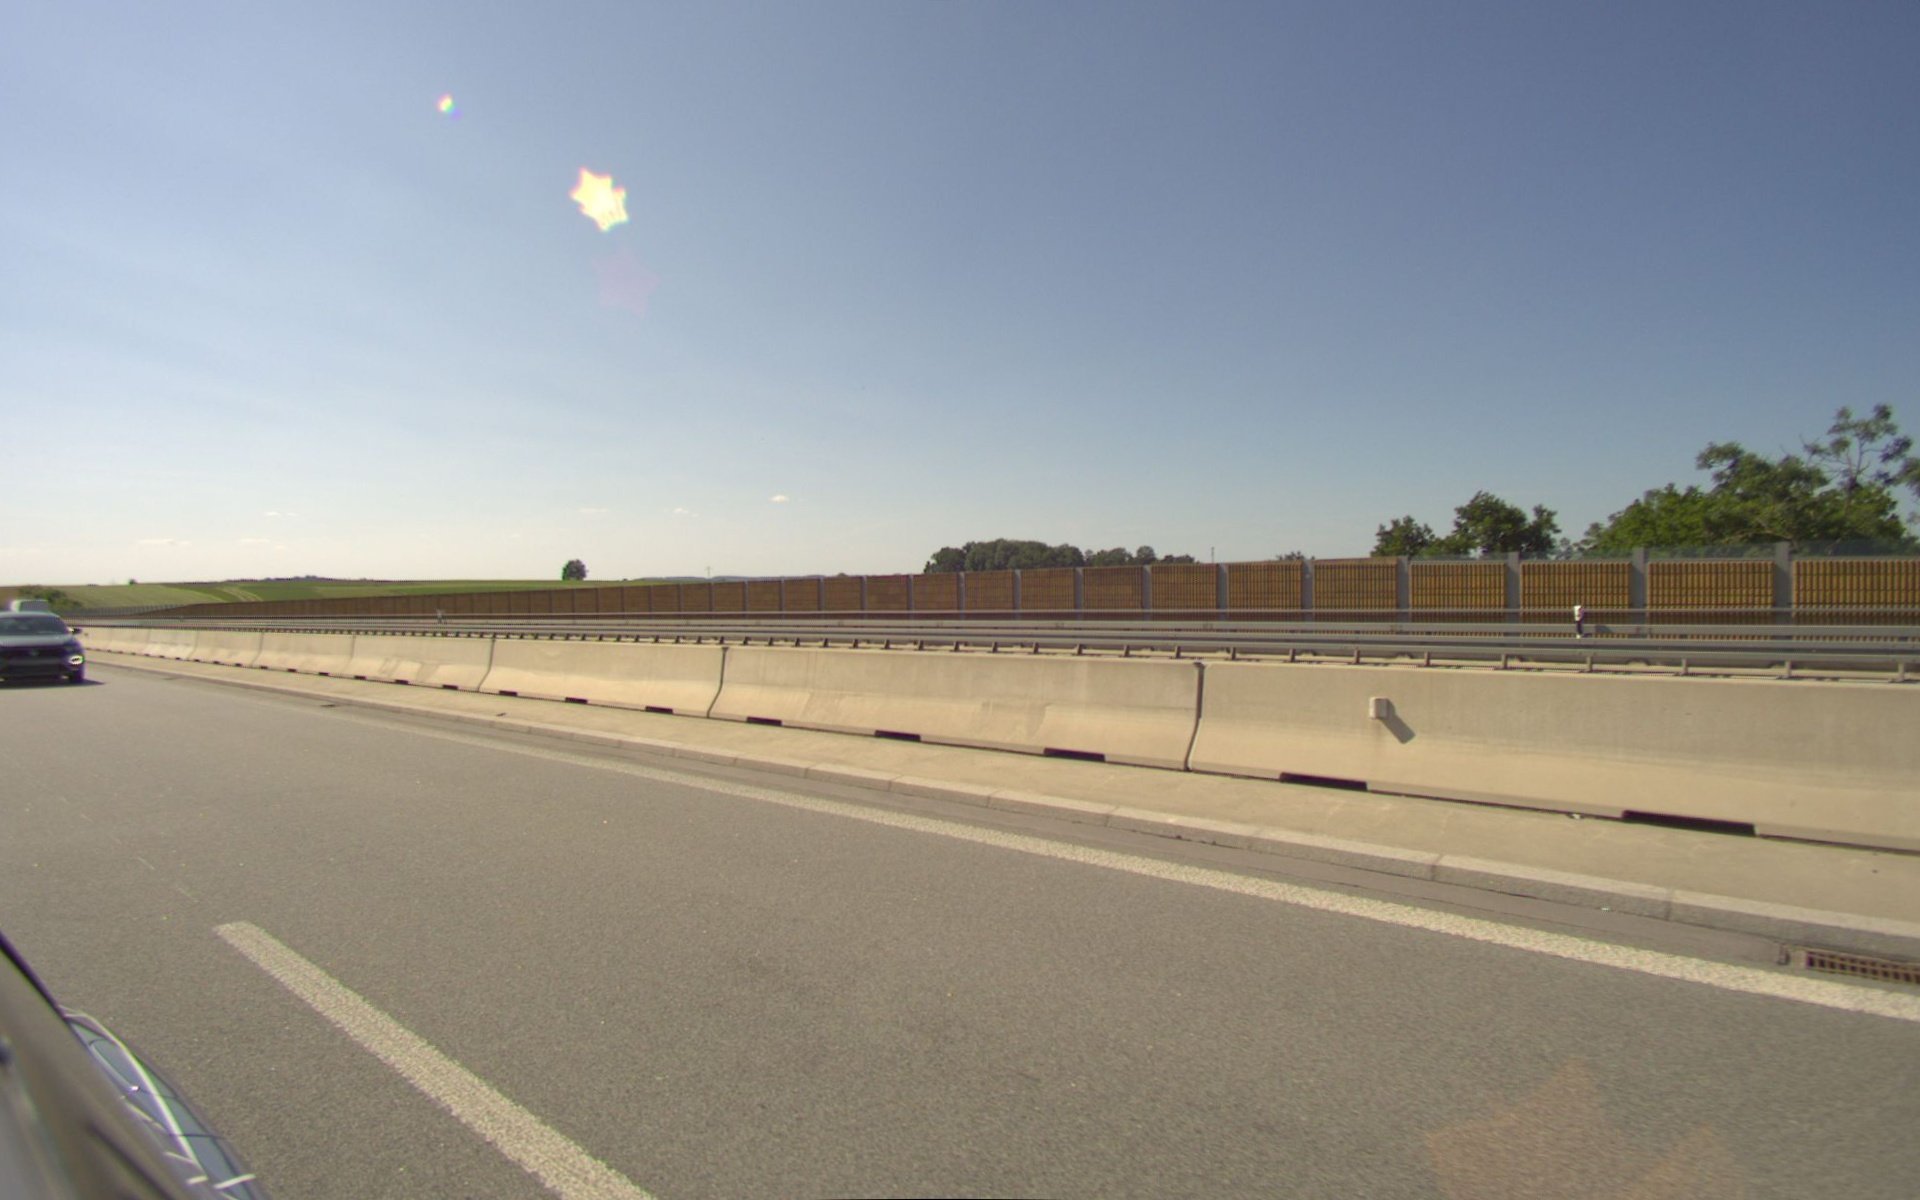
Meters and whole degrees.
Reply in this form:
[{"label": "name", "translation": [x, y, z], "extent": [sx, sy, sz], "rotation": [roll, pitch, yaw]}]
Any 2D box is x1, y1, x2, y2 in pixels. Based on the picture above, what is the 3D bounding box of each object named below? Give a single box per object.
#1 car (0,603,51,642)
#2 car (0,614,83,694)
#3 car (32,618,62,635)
[{"label": "car", "translation": [-67.102, 1.589, 72.591], "extent": [6.482, 2.690, 2.002], "rotation": [-1, 0, 40]}, {"label": "car", "translation": [-20.811, 1.118, 22.197], "extent": [4.986, 1.581, 1.753], "rotation": [-1, 0, 42]}, {"label": "car", "translation": [-85.481, 2.503, 94.772], "extent": [4.330, 1.520, 1.630], "rotation": [-1, 0, 42]}]
